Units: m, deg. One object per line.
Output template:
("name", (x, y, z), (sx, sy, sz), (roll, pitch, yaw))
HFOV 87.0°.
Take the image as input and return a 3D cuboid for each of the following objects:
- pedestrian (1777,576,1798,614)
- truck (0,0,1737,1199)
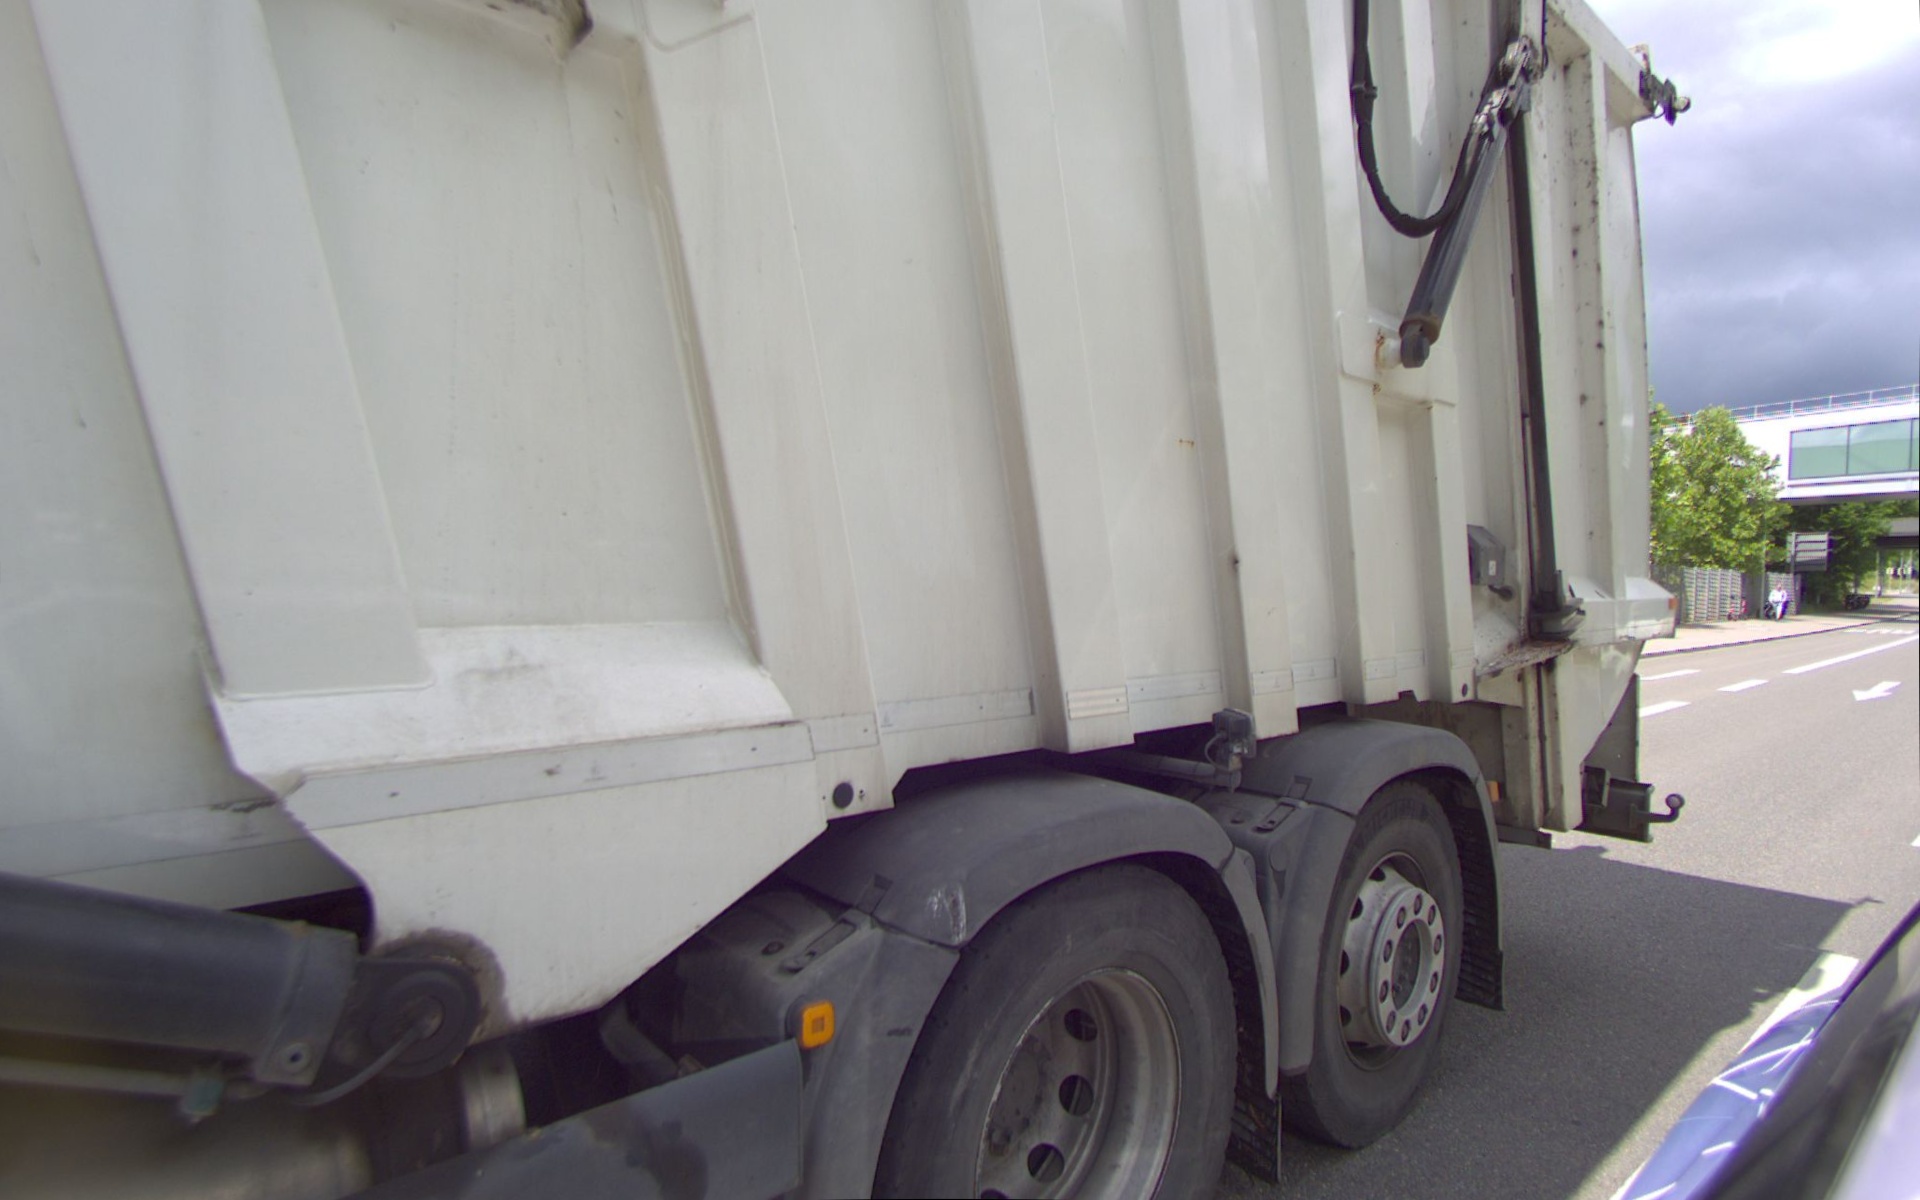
("pedestrian", (42.350, -0.269, 51.769), (0.647, 1.936, 0.738), (0, 0, -42))
("truck", (-0.841, -0.509, 2.416), (9.999, 3.962, 2.492), (-1, 0, -42))
